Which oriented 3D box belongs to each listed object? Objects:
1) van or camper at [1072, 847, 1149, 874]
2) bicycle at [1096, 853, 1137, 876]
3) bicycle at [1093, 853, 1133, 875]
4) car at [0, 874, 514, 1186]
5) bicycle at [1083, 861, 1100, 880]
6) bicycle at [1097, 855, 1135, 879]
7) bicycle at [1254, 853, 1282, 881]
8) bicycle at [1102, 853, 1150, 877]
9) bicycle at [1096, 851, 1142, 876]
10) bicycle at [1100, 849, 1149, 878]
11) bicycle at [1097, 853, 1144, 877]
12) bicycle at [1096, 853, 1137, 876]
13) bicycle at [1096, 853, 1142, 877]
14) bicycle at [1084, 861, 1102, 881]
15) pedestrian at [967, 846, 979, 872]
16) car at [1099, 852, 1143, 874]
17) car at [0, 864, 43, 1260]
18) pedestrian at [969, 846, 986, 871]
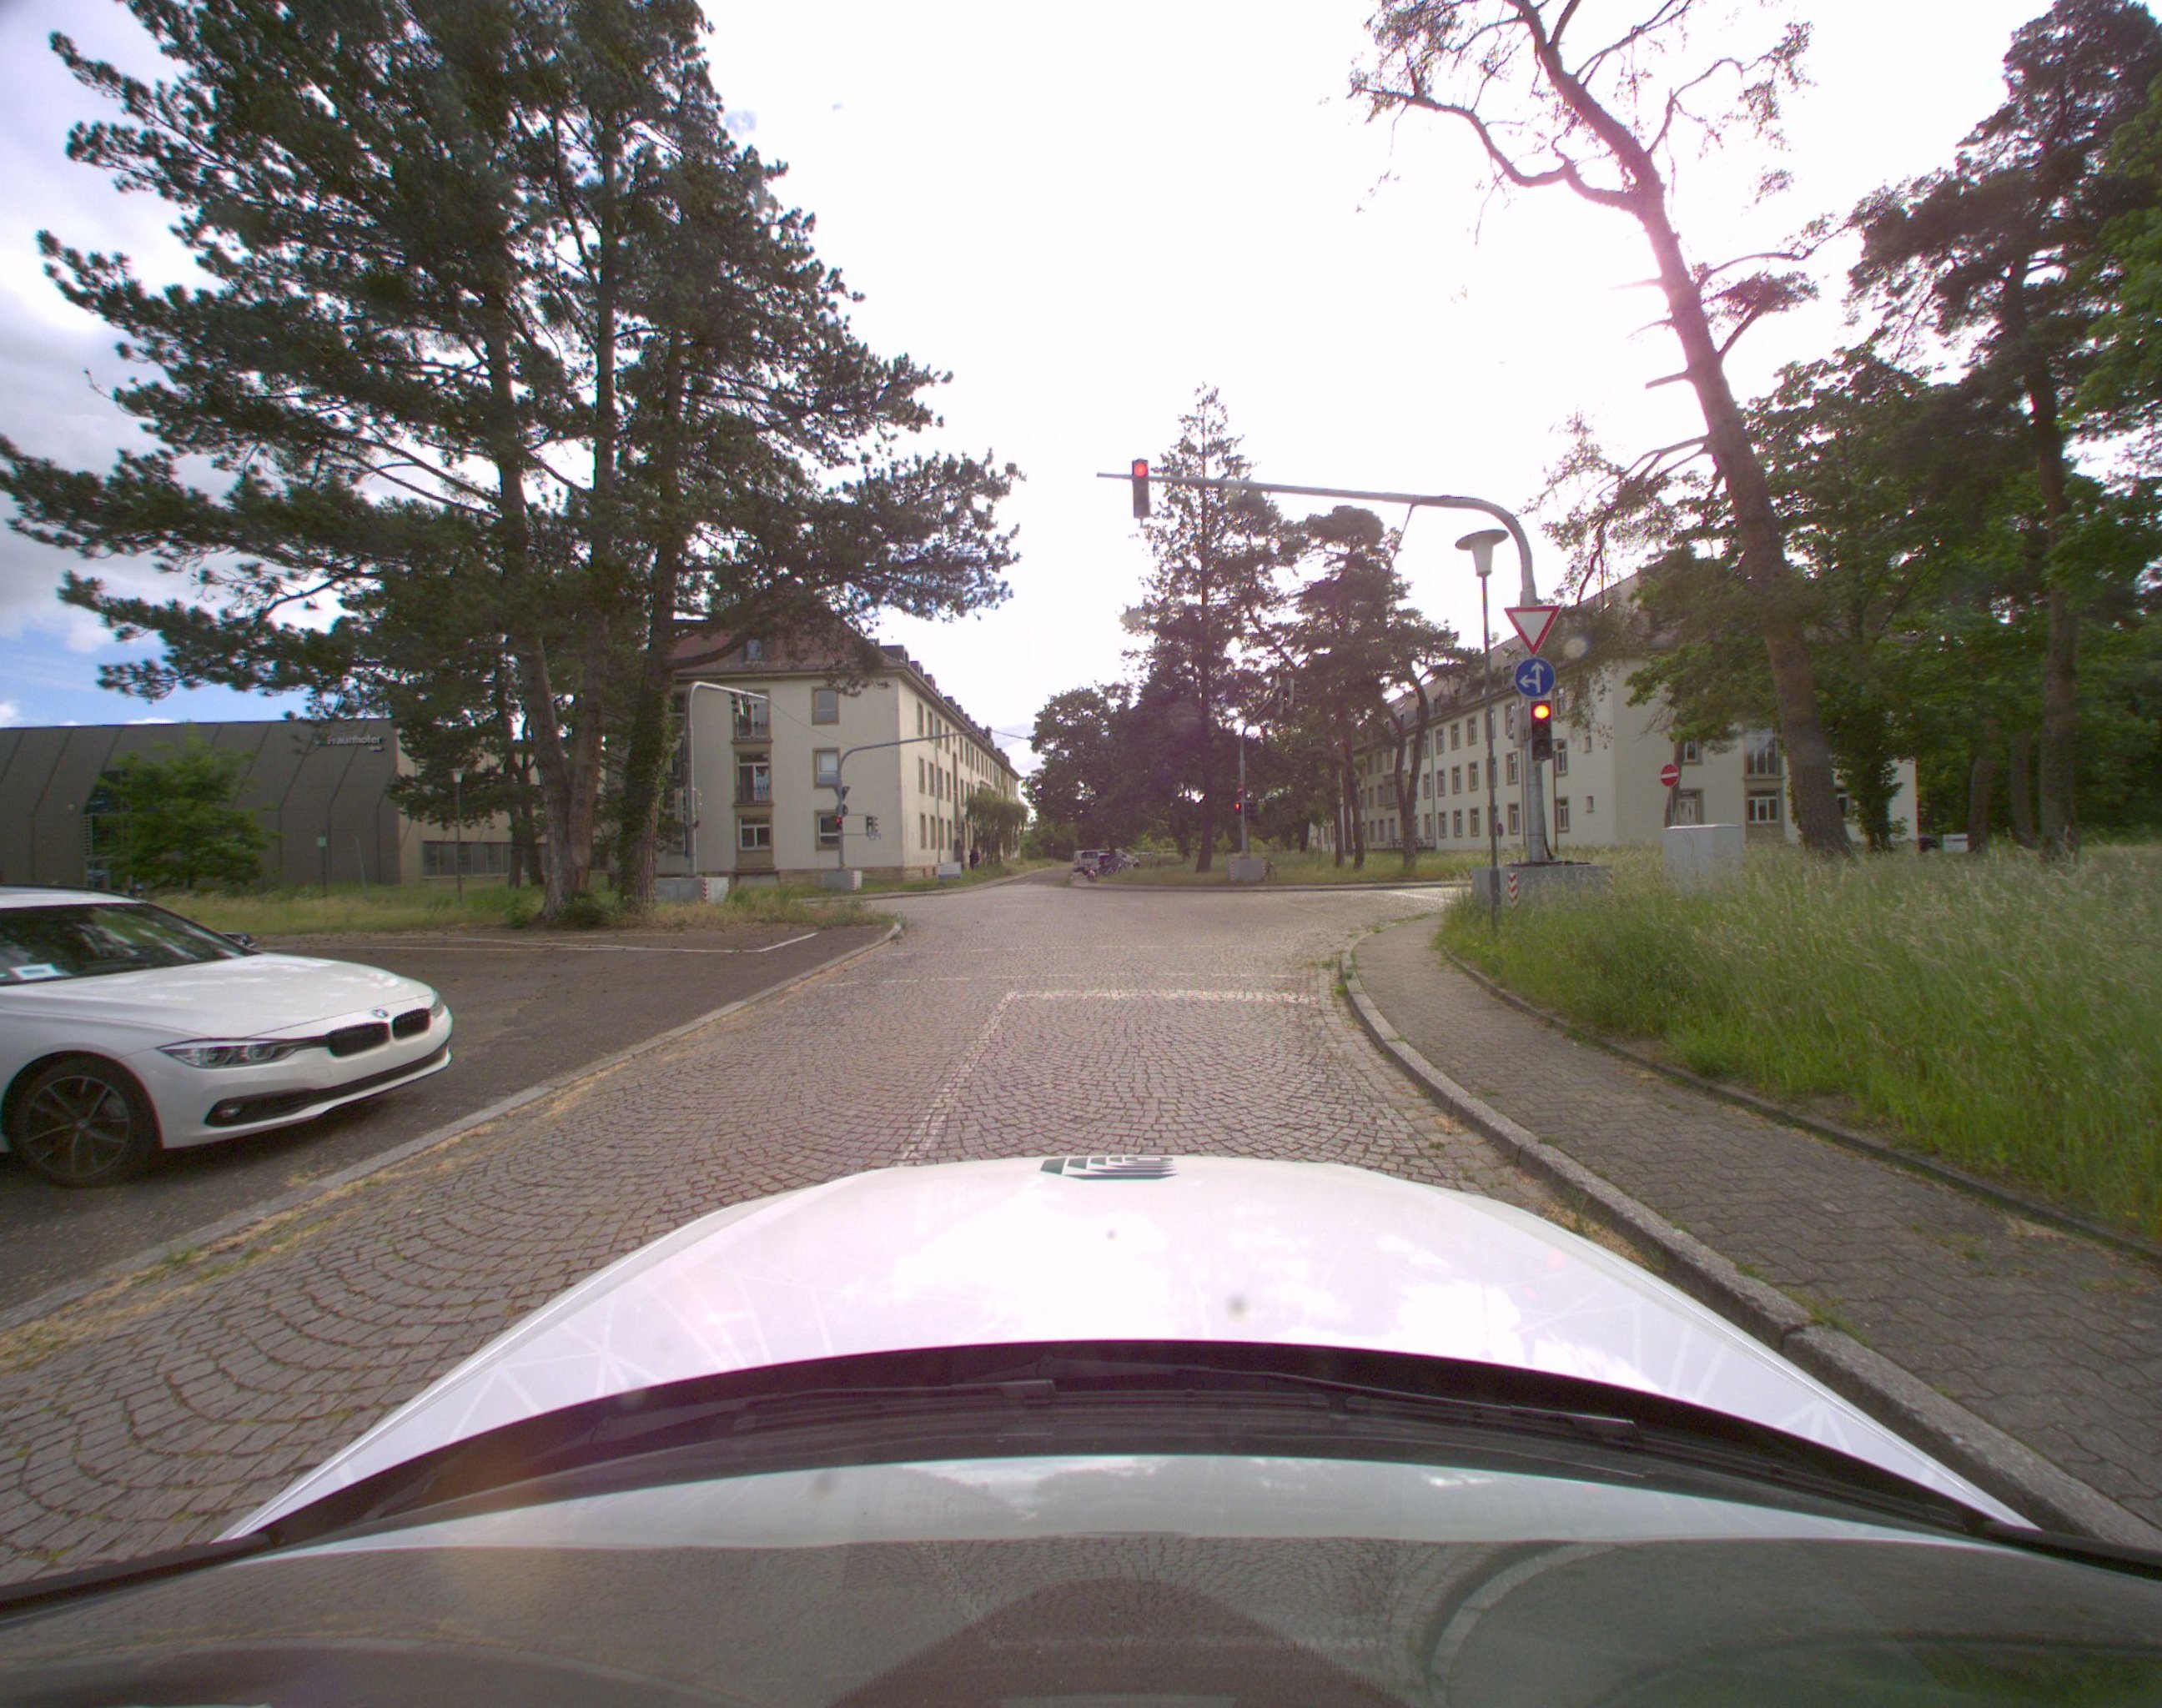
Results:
[{"bbox_3d":[2.293,0.531,64.744,5.745,1.957,2.229,-2,0,-12],"label":"van or camper"},{"bbox_3d":[2.234,0.642,51.419,2.560,1.372,0.950,-2,0,-1],"label":"bicycle"},{"bbox_3d":[2.090,0.657,53.098,2.560,1.372,0.950,-2,0,-1],"label":"bicycle"},{"bbox_3d":[-6.534,0.884,4.913,4.792,1.439,1.912,1,0,-1],"label":"car"},{"bbox_3d":[0.579,0.896,45.341,0.724,0.996,1.982,-2,0,6],"label":"bicycle"},{"bbox_3d":[1.981,0.743,46.617,2.106,1.306,0.874,-2,0,0],"label":"bicycle"},{"bbox_3d":[7.898,0.536,34.466,0.643,1.062,1.832,-5,0,-2],"label":"bicycle"},{"bbox_3d":[2.690,0.648,49.023,2.793,1.372,0.950,-2,0,0],"label":"bicycle"},{"bbox_3d":[2.179,0.571,47.228,2.610,1.367,0.874,-2,0,0],"label":"bicycle"},{"bbox_3d":[2.540,0.547,48.095,2.793,1.583,0.950,-2,0,0],"label":"bicycle"},{"bbox_3d":[2.374,0.654,49.561,2.793,1.372,0.950,-2,0,0],"label":"bicycle"},{"bbox_3d":[2.237,0.649,52.259,2.560,1.372,0.950,-2,0,-1],"label":"bicycle"},{"bbox_3d":[2.362,0.662,50.454,2.793,1.372,0.950,-2,0,0],"label":"bicycle"},{"bbox_3d":[0.613,0.878,43.249,0.897,0.996,1.979,-2,0,0],"label":"bicycle"},{"bbox_3d":[-8.296,0.394,62.743,0.865,1.932,0.834,0,-1,-11],"label":"pedestrian"},{"bbox_3d":[2.974,0.676,61.221,3.214,1.621,1.937,0,-1,0],"label":"car"},{"bbox_3d":[-6.539,0.837,2.359,4.462,1.590,1.845,0,0,-3],"label":"car"},{"bbox_3d":[-7.893,0.339,61.992,1.194,1.870,1.545,0,-1,-9],"label":"pedestrian"}]
